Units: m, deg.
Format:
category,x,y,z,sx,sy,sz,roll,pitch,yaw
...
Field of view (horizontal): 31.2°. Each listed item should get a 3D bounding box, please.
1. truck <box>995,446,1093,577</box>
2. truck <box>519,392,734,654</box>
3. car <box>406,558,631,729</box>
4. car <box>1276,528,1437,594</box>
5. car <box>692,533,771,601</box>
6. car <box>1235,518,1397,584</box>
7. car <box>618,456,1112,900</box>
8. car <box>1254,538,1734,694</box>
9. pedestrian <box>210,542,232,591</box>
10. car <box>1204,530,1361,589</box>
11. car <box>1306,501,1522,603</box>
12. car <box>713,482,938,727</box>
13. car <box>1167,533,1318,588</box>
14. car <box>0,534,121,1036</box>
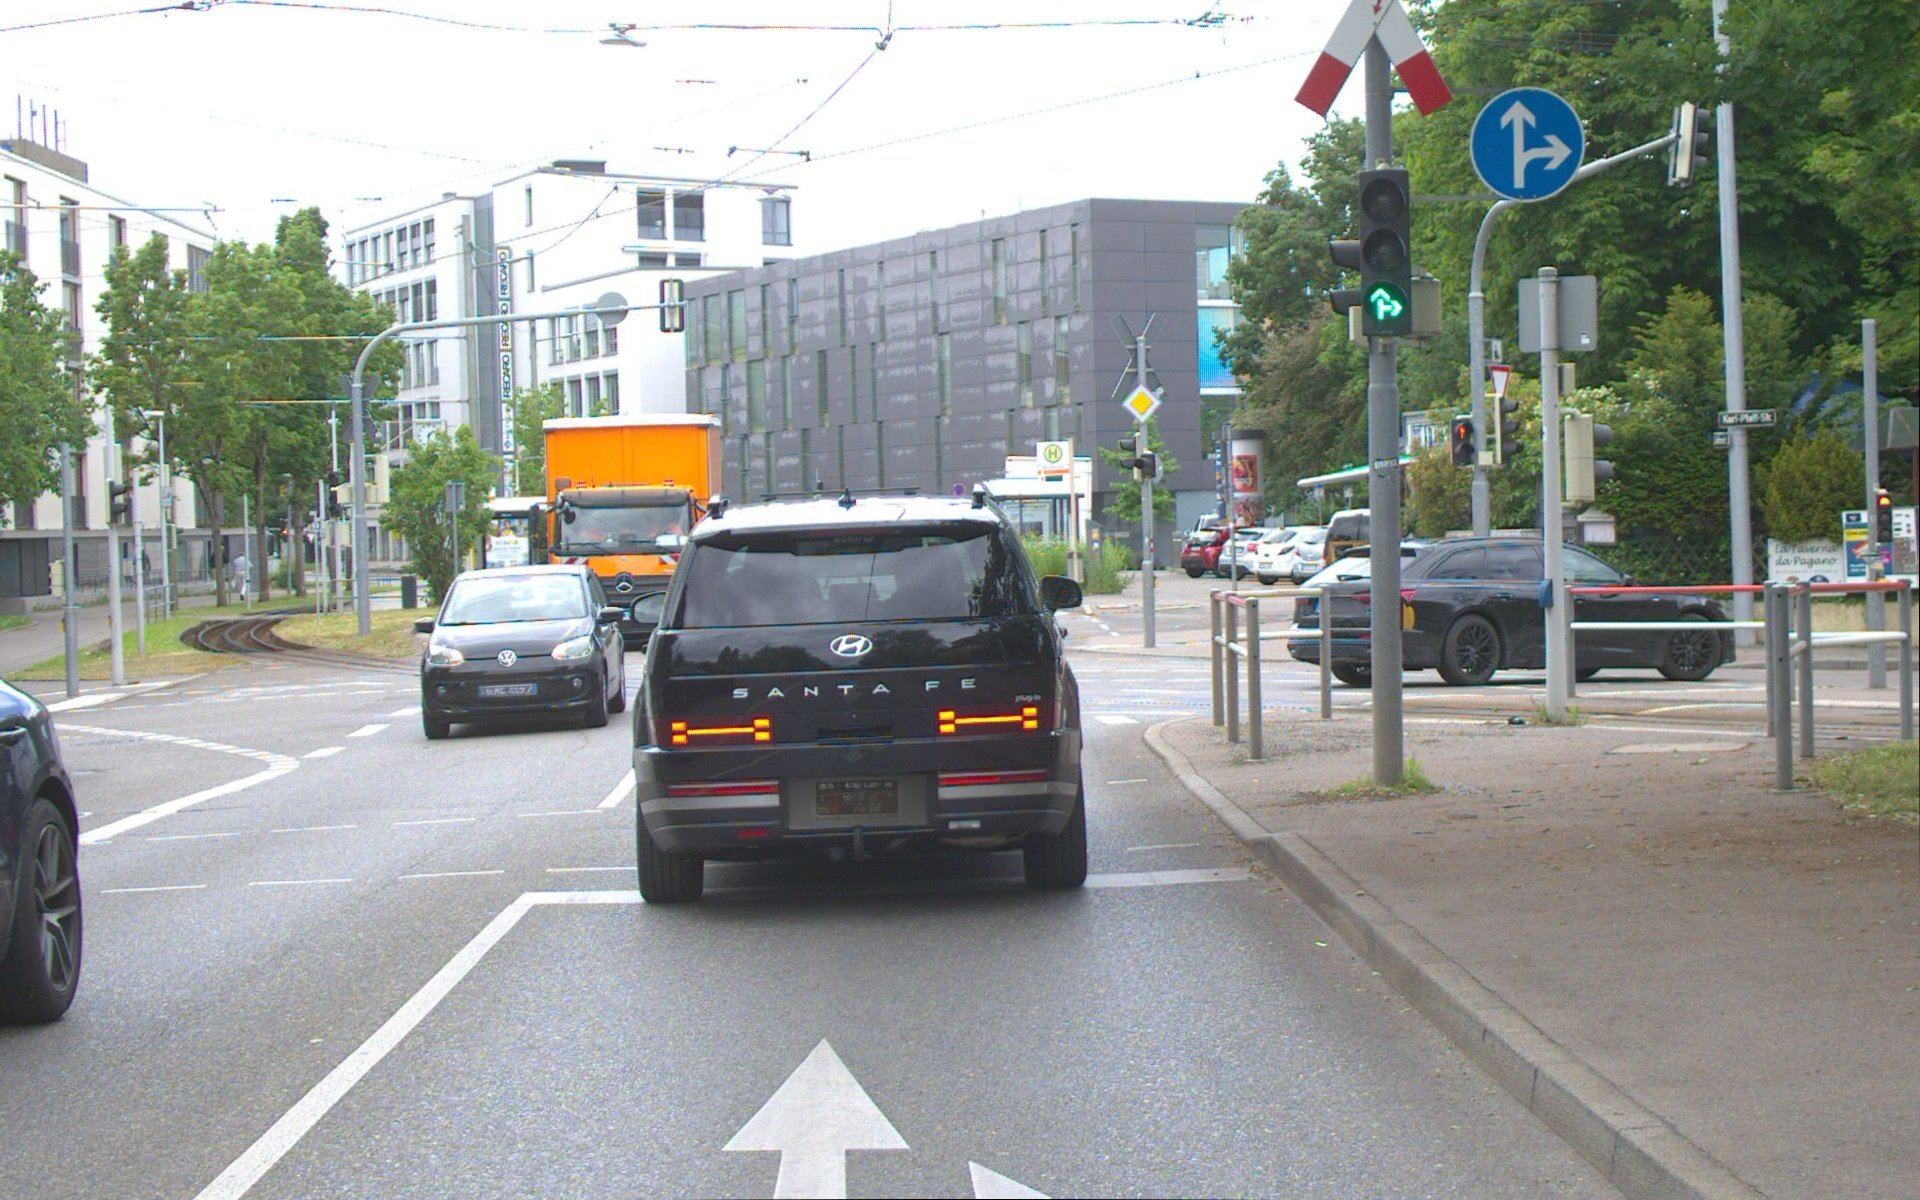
category,x,y,z,sx,sy,sz,roll,pitch,yaw
truck,2.320,-2.478,96.955,2.573,3.513,7.810,-1,1,1
truck,-5.198,-1.190,54.994,2.769,3.706,8.470,-3,1,-2
car,-4.008,0.352,31.696,1.663,1.444,3.828,-1,1,-2
car,9.225,-0.921,79.981,3.505,1.373,1.547,-2,3,-31
car,-5.913,-0.880,89.404,1.788,1.656,4.277,-2,1,-1
car,8.789,-1.198,84.818,3.638,1.430,1.592,-3,0,-28
car,-0.491,0.267,15.543,1.915,1.719,4.171,1,1,-3
car,5.337,0.125,34.217,4.504,1.458,2.000,0,1,-31
pedestrian,-25.614,-1.168,119.196,0.613,1.689,0.785,0,0,-1
car,8.531,-1.050,90.908,3.791,1.468,1.798,1,0,-31
car,8.331,-0.890,62.749,1.849,1.742,4.685,0,2,37
car,-1.256,-0.018,31.209,1.855,2.026,4.438,-1,1,-3
car,7.913,-1.098,96.302,3.790,1.468,1.798,1,0,-26
car,-3.912,0.622,9.769,1.939,1.526,4.526,-3,1,-1
